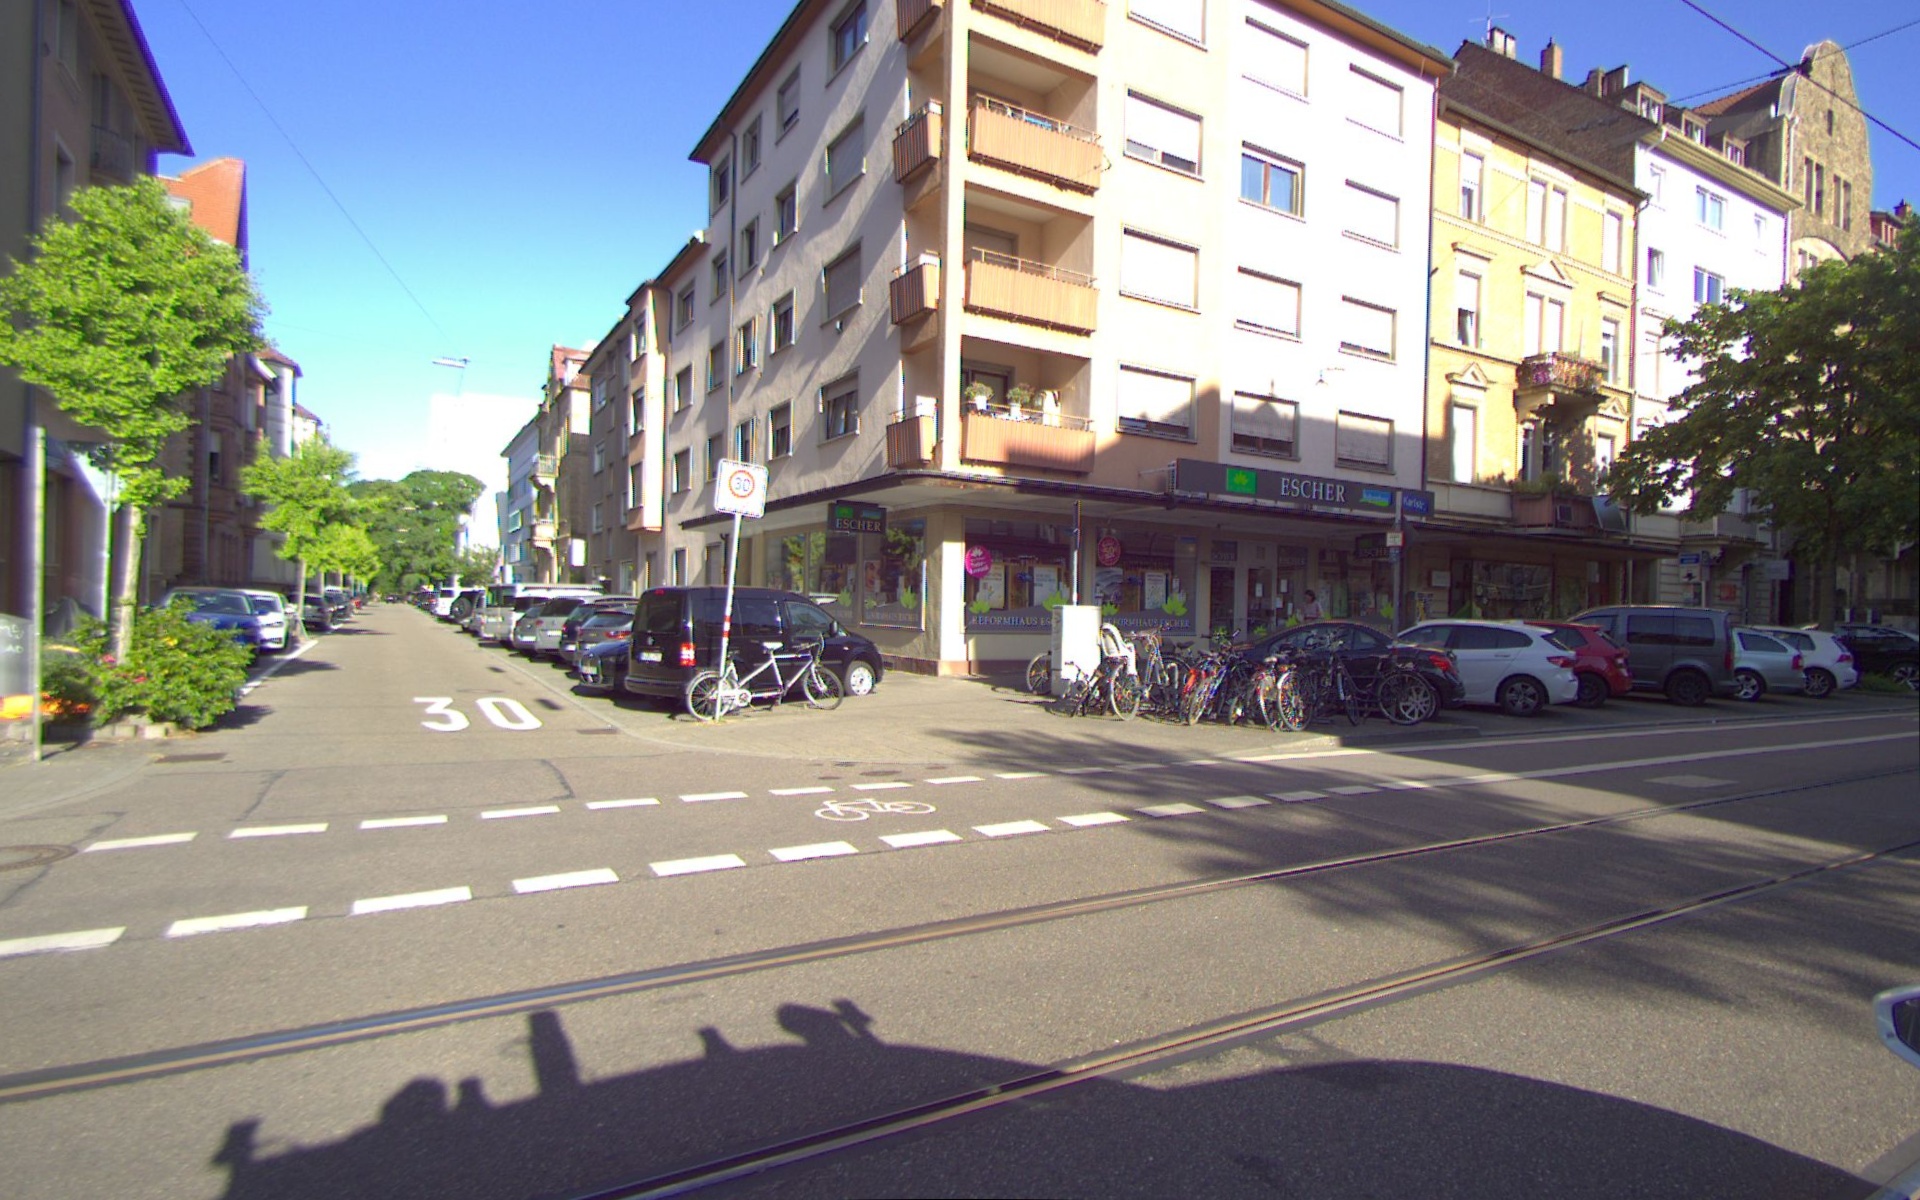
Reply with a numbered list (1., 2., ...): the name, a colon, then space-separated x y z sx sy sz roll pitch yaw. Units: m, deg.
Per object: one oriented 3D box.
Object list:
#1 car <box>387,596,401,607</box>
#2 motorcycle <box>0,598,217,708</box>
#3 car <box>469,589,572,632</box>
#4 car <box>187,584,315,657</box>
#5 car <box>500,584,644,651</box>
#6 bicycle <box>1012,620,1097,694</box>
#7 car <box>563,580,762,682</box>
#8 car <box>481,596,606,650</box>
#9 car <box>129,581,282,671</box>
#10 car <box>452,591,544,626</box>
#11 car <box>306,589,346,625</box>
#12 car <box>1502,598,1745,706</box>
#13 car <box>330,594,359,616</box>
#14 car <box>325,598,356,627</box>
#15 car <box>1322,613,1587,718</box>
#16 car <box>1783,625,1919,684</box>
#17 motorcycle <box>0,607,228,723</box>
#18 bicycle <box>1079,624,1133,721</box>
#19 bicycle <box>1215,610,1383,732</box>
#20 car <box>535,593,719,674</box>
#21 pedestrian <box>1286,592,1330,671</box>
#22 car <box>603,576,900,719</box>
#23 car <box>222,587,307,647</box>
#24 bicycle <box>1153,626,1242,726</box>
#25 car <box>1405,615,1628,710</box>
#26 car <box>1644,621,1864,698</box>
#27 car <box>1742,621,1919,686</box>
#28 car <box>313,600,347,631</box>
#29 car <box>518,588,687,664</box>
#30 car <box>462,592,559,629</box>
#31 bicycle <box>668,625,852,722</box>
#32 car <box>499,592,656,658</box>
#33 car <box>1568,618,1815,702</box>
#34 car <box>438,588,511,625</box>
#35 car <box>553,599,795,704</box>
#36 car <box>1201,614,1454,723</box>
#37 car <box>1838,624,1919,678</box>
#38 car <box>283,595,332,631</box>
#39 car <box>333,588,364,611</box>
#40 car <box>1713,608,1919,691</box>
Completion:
1. car: -81.759 0.234 145.095 1.708 1.506 3.681 2 0 -30
2. motorcycle: -10.307 0.628 12.045 2.151 1.225 0.616 2 0 -31
3. car: -17.332 0.382 39.778 1.588 1.477 3.546 2 3 25
4. car: -17.045 0.451 24.090 3.816 1.531 1.785 2 0 44
5. car: -11.558 0.465 30.188 1.659 1.737 3.996 2 3 25
6. bicycle: 1.541 0.895 16.134 0.398 1.124 1.830 1 -1 38
7. car: -5.866 0.520 20.287 1.422 1.726 3.991 2 3 30
8. car: -13.272 0.686 32.217 1.588 1.477 3.546 2 3 25
9. car: -14.846 0.450 19.698 3.816 1.531 1.785 2 0 44
10. car: -20.548 0.383 44.780 1.588 1.477 3.548 2 0 25
11. car: -30.834 0.328 48.928 1.490 1.591 3.537 2 0 -31
12. car: 12.853 0.946 19.763 3.752 1.808 1.795 2 0 28
13. car: -46.673 0.362 76.144 1.776 1.531 3.835 2 0 -32
14. car: -37.666 0.760 61.144 1.490 1.591 3.537 2 0 -31
15. car: 8.122 1.004 16.705 3.722 1.419 1.752 2 0 27
16. car: 26.214 1.554 28.637 3.926 1.509 1.804 2 0 28
17. motorcycle: -9.738 0.729 11.469 2.151 1.225 0.616 2 0 -31
18. bicycle: 2.068 0.951 14.023 0.670 1.124 2.436 0 2 10
19. bicycle: 4.252 0.823 12.512 2.410 1.337 0.677 -1 2 -35
20. car: -7.414 0.675 22.773 1.659 1.477 3.996 2 3 25
21. pedestrian: 7.486 0.671 21.639 0.634 1.674 0.566 2 1 -30
22. car: -3.094 0.620 15.726 1.821 1.842 4.338 -2 1 39
23. car: -19.747 0.464 28.635 1.776 1.531 3.835 2 0 -32
24. bicycle: 3.200 0.970 13.417 0.671 1.139 1.884 1 2 29
25. car: 10.121 1.073 18.438 3.408 1.493 1.645 1 0 30
26. car: 17.995 1.296 23.009 3.780 1.449 1.760 2 0 35
27. car: 23.880 1.416 27.190 3.926 1.509 1.865 2 0 28
28. car: -35.689 0.849 56.924 1.490 1.591 3.537 2 0 -31
29. car: -8.809 0.575 25.122 1.659 1.577 3.996 2 3 25
30. car: -18.969 0.447 42.533 1.588 1.477 3.547 2 0 25
31. bicycle: -2.666 0.951 13.612 2.413 1.124 0.676 -1 2 -37
32. car: -10.399 0.614 27.589 1.659 1.477 3.996 2 3 25
33. car: 15.243 1.202 21.203 3.945 1.469 1.697 2 0 28
34. car: -27.826 0.377 57.647 1.479 2.010 3.562 2 0 28
35. car: -4.895 0.797 17.749 1.816 1.411 3.992 2 3 29
36. car: 5.574 0.962 15.267 3.406 1.355 1.623 2 0 26
37. car: 29.003 1.555 29.954 3.931 1.509 1.802 2 0 32
38. car: -26.470 0.511 40.799 1.490 1.324 3.537 2 0 -31
39. car: -42.983 -0.054 70.578 1.776 1.531 3.835 2 0 -32
40. car: 21.874 1.204 25.321 4.286 1.806 1.993 2 0 28
